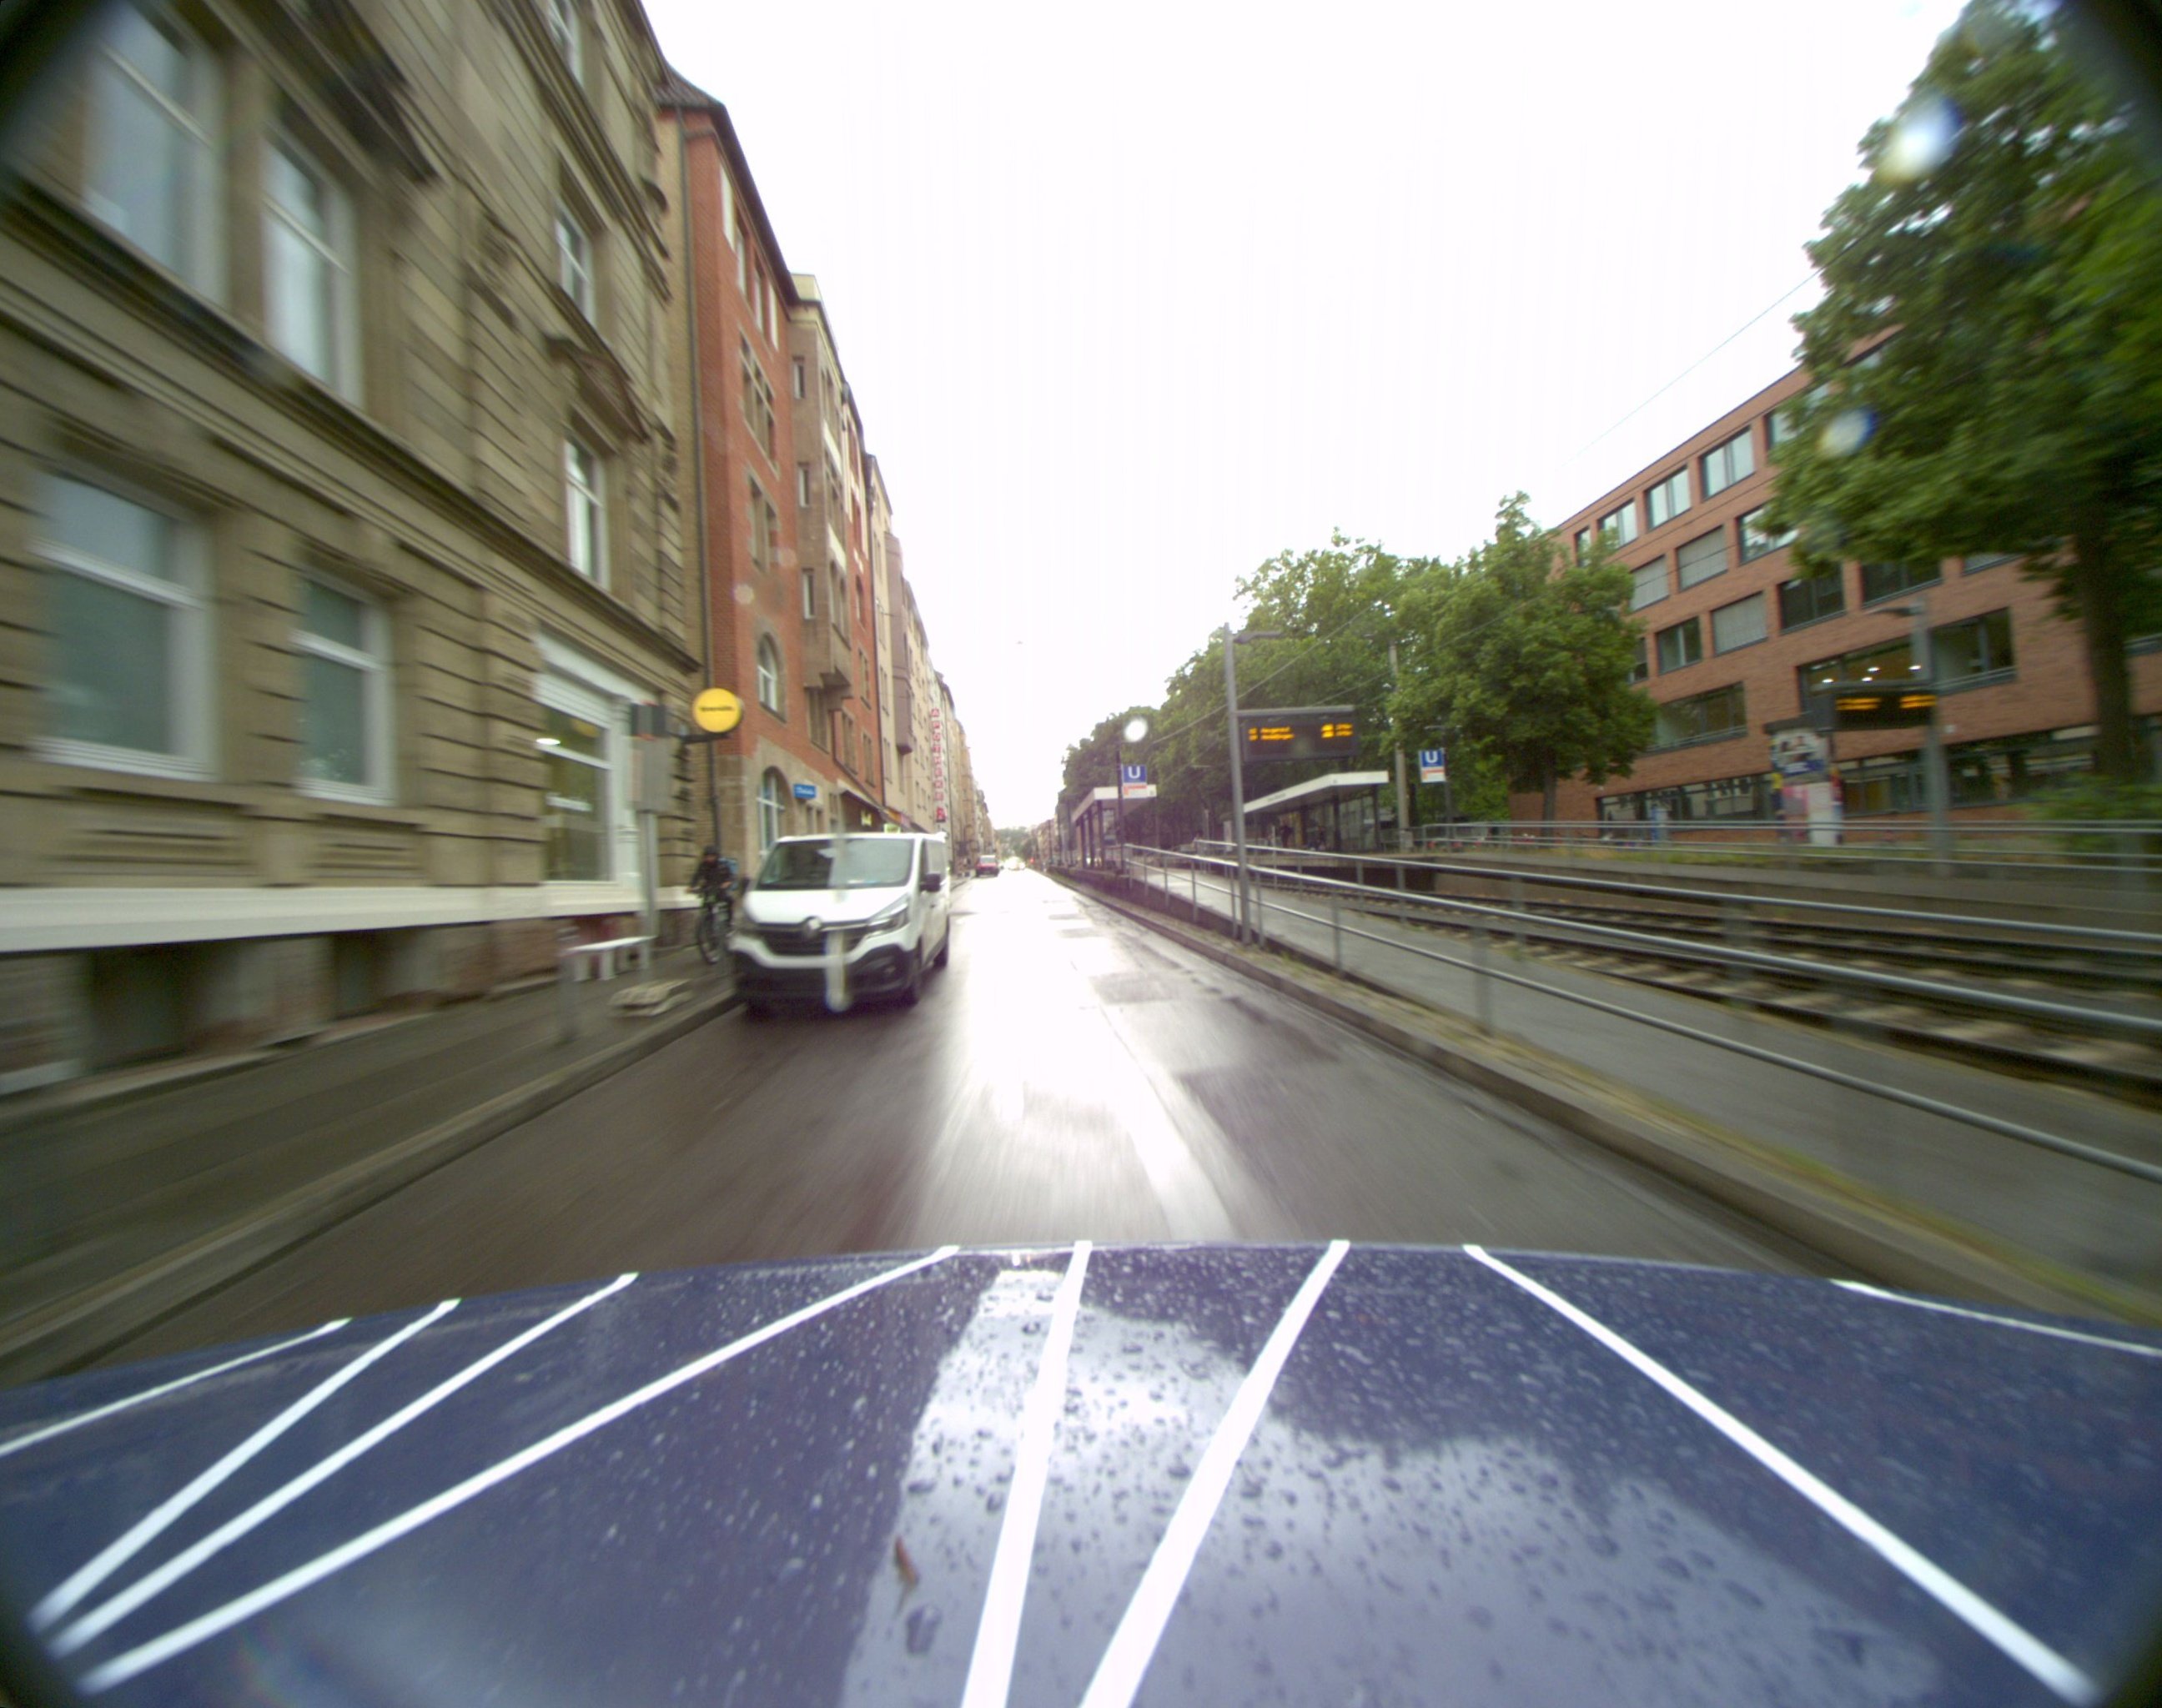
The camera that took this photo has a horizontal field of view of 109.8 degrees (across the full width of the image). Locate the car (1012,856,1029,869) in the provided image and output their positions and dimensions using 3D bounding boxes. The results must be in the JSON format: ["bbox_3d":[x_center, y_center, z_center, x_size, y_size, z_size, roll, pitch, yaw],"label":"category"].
[{"bbox_3d":[-7.207,1.000,90.126,1.885,1.439,3.997,-3,1,-6],"label":"car"}]

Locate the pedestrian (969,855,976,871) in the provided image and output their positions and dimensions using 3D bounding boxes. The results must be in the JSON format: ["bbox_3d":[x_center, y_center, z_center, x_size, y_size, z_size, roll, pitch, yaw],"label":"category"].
[{"bbox_3d":[-12.628,1.069,88.696,0.677,1.780,0.702,-2,1,-16],"label":"pedestrian"}]

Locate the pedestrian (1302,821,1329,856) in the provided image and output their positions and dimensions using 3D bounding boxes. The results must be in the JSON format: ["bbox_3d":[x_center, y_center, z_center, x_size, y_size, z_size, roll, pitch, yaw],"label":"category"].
[{"bbox_3d":[10.287,-0.679,33.345,0.782,1.474,0.883,-2,1,-9],"label":"pedestrian"}]

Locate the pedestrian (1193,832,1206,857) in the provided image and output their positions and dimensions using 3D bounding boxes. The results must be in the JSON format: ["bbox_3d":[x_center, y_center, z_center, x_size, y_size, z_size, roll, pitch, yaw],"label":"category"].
[{"bbox_3d":[8.516,-0.700,54.637,0.677,1.780,0.703,-2,1,-5],"label":"pedestrian"}]

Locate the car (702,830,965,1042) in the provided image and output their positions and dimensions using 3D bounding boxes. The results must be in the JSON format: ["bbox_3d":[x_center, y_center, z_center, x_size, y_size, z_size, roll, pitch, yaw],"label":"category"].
[{"bbox_3d":[-2.795,0.754,10.199,1.826,1.893,5.988,-3,1,-4],"label":"car"}]

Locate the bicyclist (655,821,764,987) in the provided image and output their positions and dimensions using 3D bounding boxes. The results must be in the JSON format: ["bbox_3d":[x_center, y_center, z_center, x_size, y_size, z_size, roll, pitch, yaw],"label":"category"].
[{"bbox_3d":[-5.370,0.687,11.090,0.921,2.250,1.287,-2,1,-4],"label":"bicyclist"}]

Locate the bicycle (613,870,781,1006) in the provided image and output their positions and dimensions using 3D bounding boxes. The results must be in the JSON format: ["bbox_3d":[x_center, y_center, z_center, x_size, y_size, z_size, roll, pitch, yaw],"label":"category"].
[{"bbox_3d":[-5.328,1.065,10.894,0.937,1.545,3.133,-3,0,-4],"label":"bicycle"}]

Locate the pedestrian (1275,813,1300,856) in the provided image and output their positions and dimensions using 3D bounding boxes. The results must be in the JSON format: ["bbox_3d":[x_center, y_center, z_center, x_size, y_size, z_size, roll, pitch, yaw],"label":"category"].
[{"bbox_3d":[10.043,-0.927,36.937,0.837,2.050,0.883,-2,1,-9],"label":"pedestrian"}]

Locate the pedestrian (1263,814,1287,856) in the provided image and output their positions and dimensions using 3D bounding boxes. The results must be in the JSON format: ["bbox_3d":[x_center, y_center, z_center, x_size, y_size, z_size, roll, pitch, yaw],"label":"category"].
[{"bbox_3d":[9.752,-0.940,38.192,0.837,2.050,0.883,-2,1,-9],"label":"pedestrian"}]

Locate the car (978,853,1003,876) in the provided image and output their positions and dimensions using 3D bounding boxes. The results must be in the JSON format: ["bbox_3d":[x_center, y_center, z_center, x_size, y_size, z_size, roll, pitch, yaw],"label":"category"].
[{"bbox_3d":[-7.960,0.867,66.608,1.885,1.838,3.997,-3,1,-9],"label":"car"}]

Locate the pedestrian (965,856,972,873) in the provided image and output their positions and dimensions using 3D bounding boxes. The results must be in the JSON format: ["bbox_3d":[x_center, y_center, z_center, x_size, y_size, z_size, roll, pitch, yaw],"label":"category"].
[{"bbox_3d":[-12.492,1.149,84.276,0.677,1.780,0.703,-2,1,-5],"label":"pedestrian"}]
